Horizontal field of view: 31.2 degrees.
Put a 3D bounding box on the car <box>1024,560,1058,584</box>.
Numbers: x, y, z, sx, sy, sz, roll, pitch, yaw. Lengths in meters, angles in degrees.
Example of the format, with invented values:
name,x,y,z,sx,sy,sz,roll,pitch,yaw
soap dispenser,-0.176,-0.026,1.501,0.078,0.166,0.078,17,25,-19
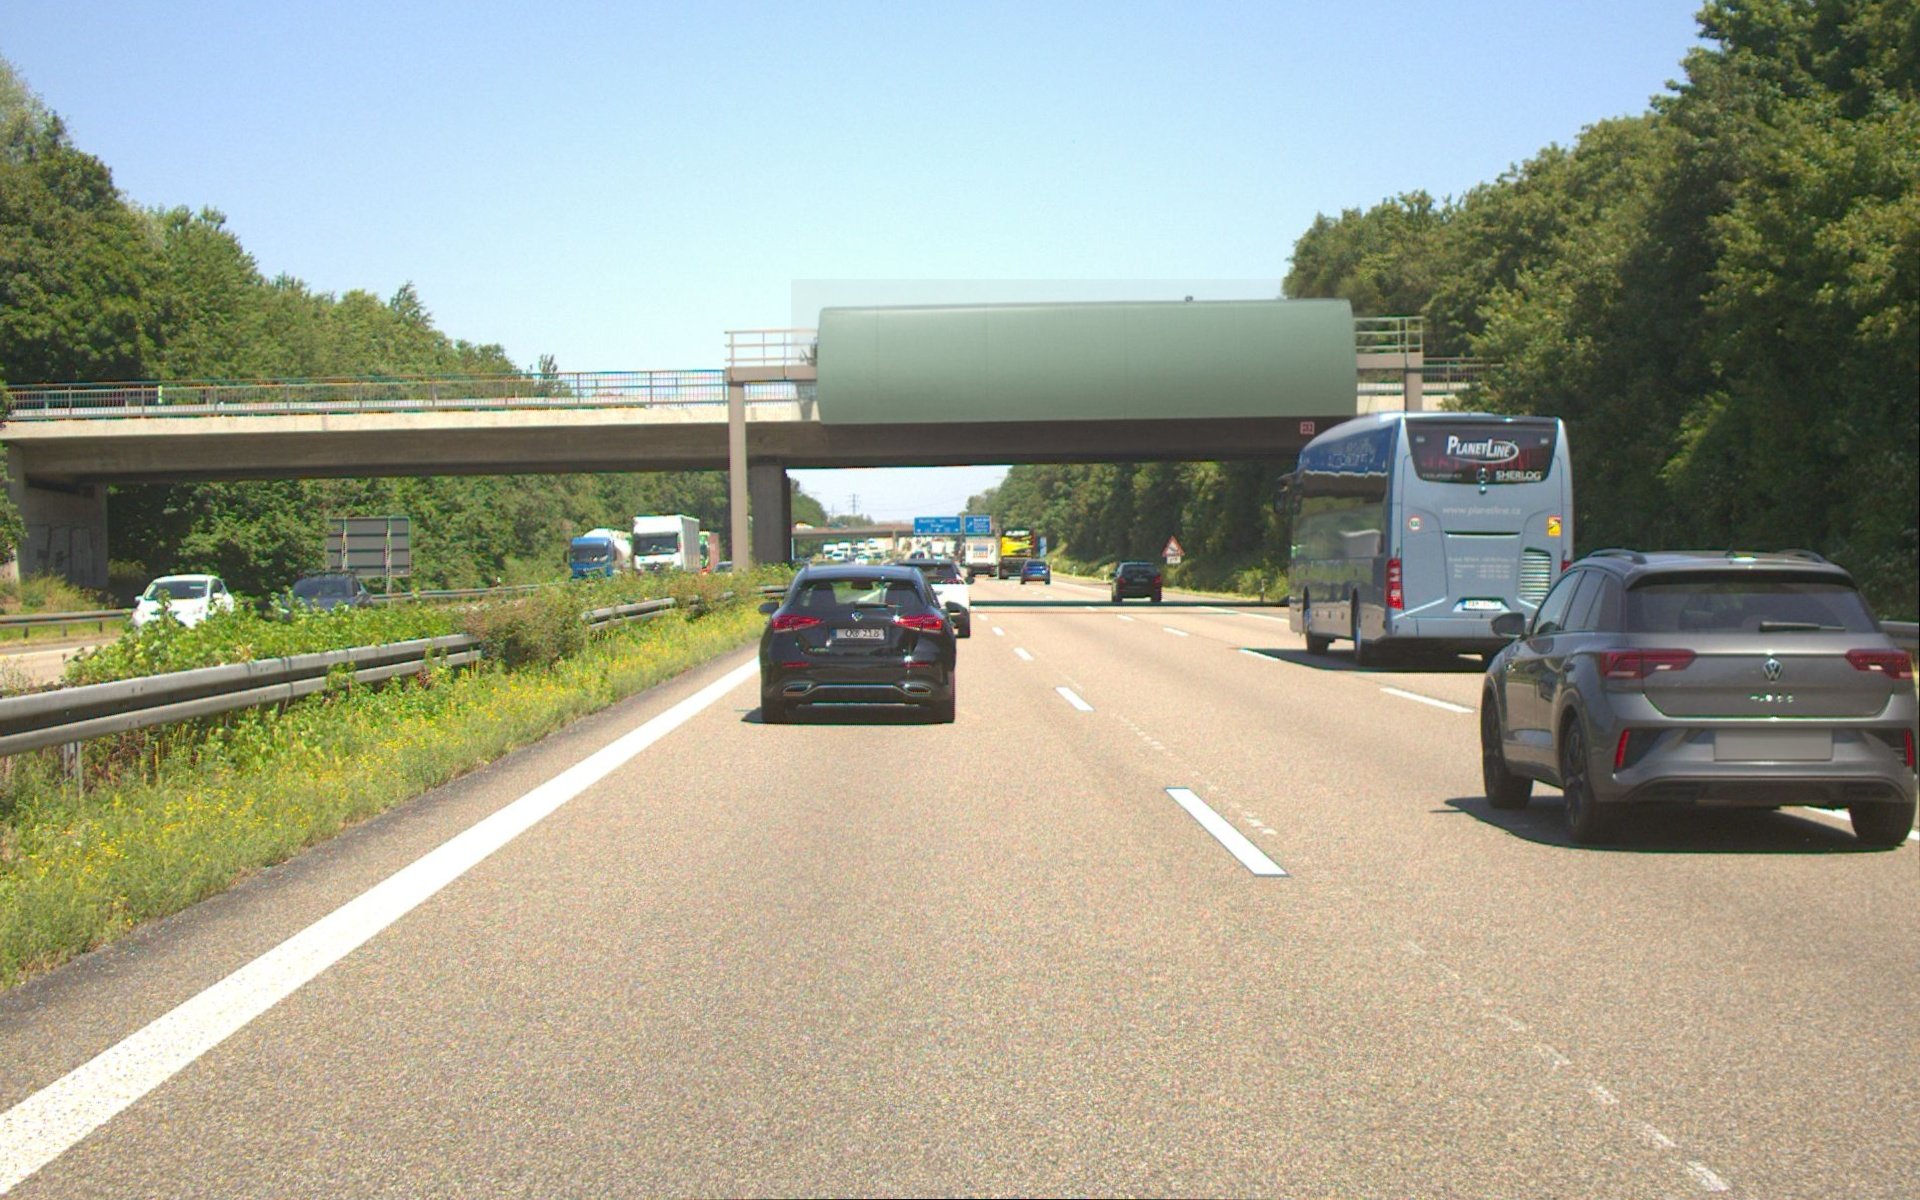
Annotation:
name,x,y,z,sx,sy,sz,roll,pitch,yaw
car,5.110,-1.784,217.592,2.081,1.527,4.241,0,1,0

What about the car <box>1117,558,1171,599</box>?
name,x,y,z,sx,sy,sz,roll,pitch,yaw
car,6.766,-0.817,126.536,1.789,1.456,3.949,0,1,0

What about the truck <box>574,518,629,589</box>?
name,x,y,z,sx,sy,sz,roll,pitch,yaw
truck,-19.877,-2.575,190.773,2.359,3.762,5.252,-2,1,0

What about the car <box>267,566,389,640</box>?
name,x,y,z,sx,sy,sz,roll,pitch,yaw
car,-14.466,0.037,78.888,1.899,1.527,5.033,-4,1,-1

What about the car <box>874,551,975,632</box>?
name,x,y,z,sx,sy,sz,roll,pitch,yaw
car,-0.727,-0.199,67.456,1.899,1.527,4.242,0,1,-1

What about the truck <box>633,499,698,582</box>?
name,x,y,z,sx,sy,sz,roll,pitch,yaw
truck,-15.462,-3.139,180.937,2.828,4.197,5.889,-2,1,0

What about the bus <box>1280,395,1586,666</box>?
name,x,y,z,sx,sy,sz,roll,pitch,yaw
bus,6.846,-0.989,51.792,2.802,3.584,12.475,0,1,0

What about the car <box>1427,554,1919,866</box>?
name,x,y,z,sx,sy,sz,roll,pitch,yaw
car,3.975,0.514,19.435,1.899,1.527,4.760,0,1,-1

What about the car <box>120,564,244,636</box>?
name,x,y,z,sx,sy,sz,roll,pitch,yaw
car,-18.182,-0.025,80.513,1.899,1.588,4.743,-2,1,-1

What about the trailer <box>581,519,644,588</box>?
name,x,y,z,sx,sy,sz,roll,pitch,yaw
trailer,-19.934,-2.684,197.719,2.358,3.781,12.075,-2,1,0

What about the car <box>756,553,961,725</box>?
name,x,y,z,sx,sy,sz,roll,pitch,yaw
car,-0.952,0.311,32.399,1.799,1.497,4.242,0,1,-1
